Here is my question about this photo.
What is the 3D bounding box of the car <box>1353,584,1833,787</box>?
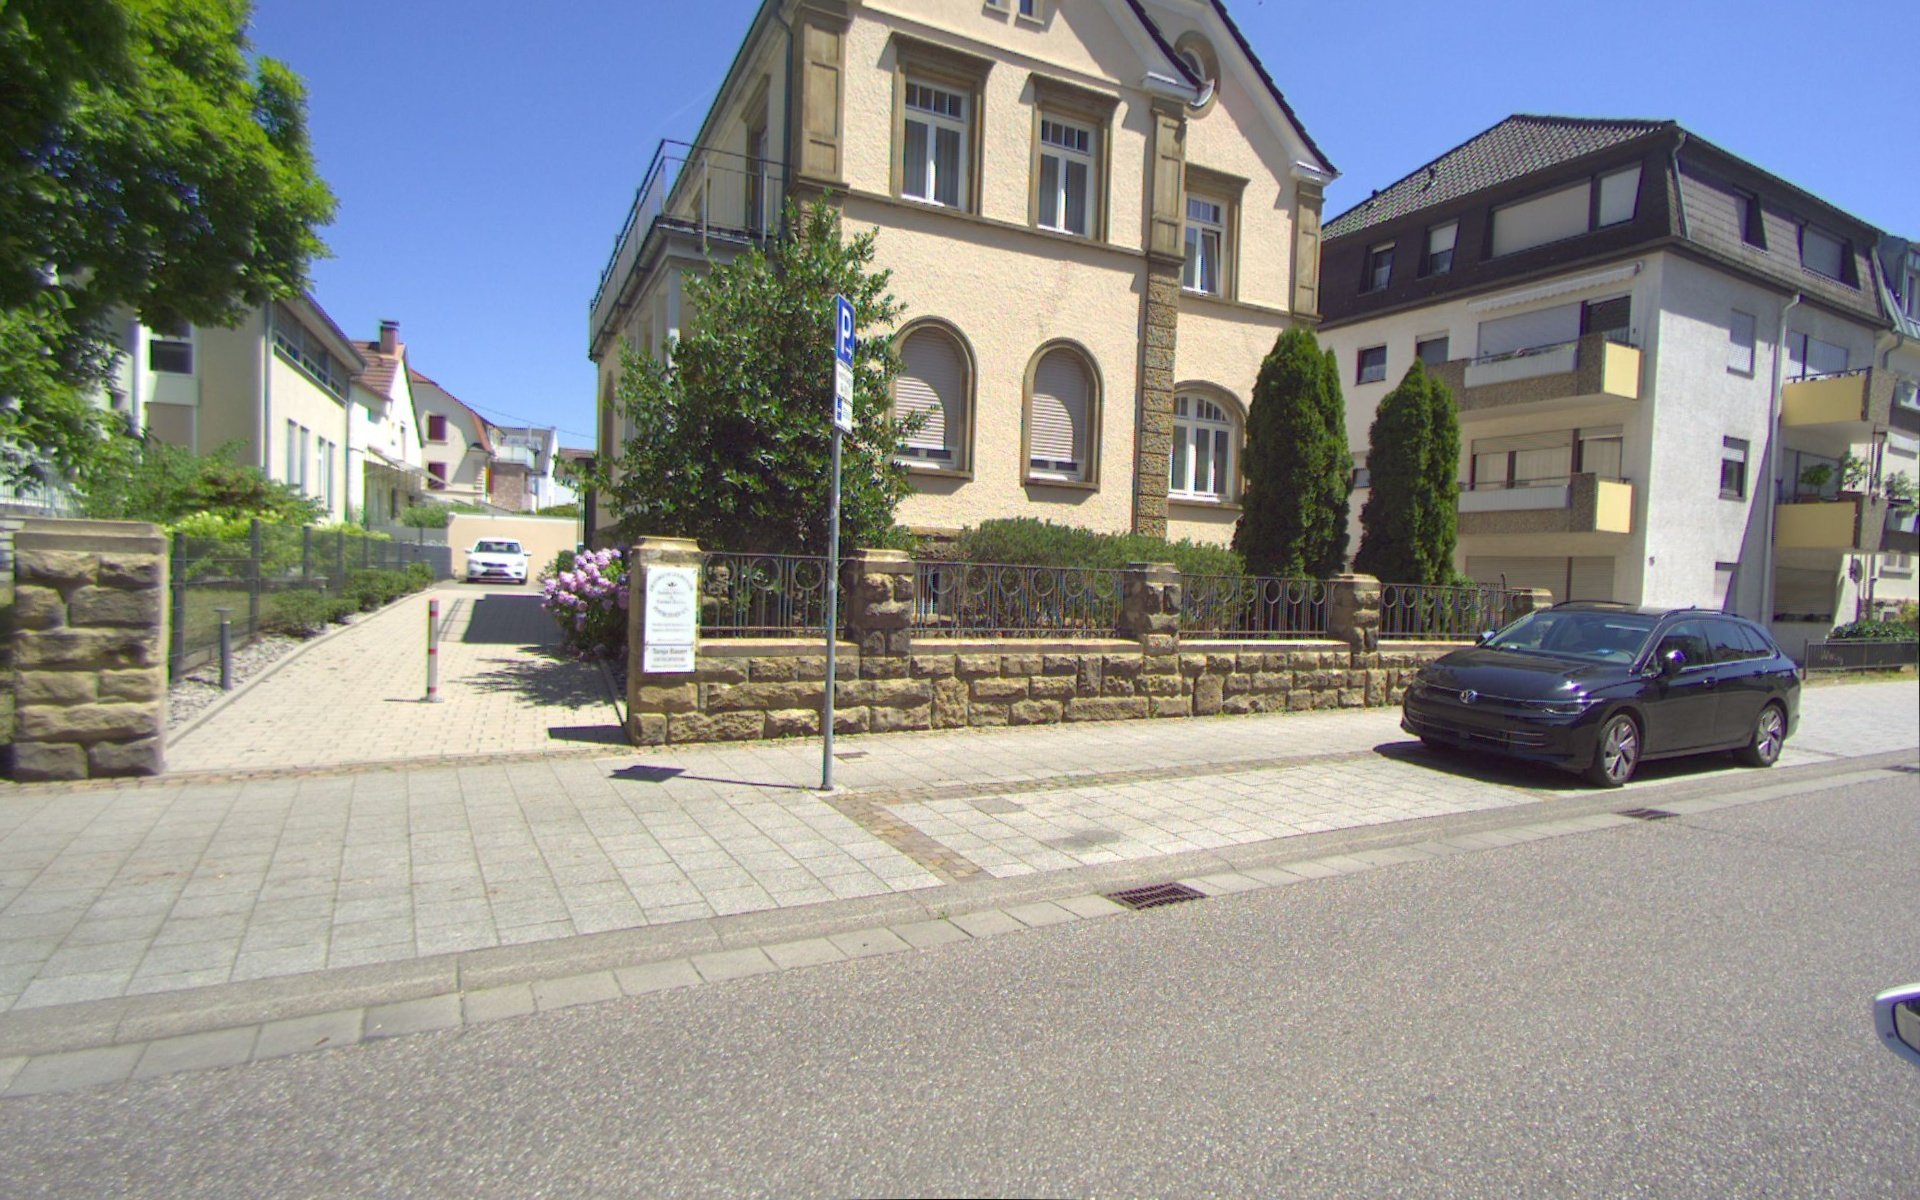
[{"bbox_3d":[6.228,0.713,9.784,4.603,1.456,1.917,2,4,-30],"label":"car"}]

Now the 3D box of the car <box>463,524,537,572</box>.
[{"bbox_3d":[-15.101,-1.664,33.143,1.971,1.434,3.979,1,1,-22],"label":"car"}]
